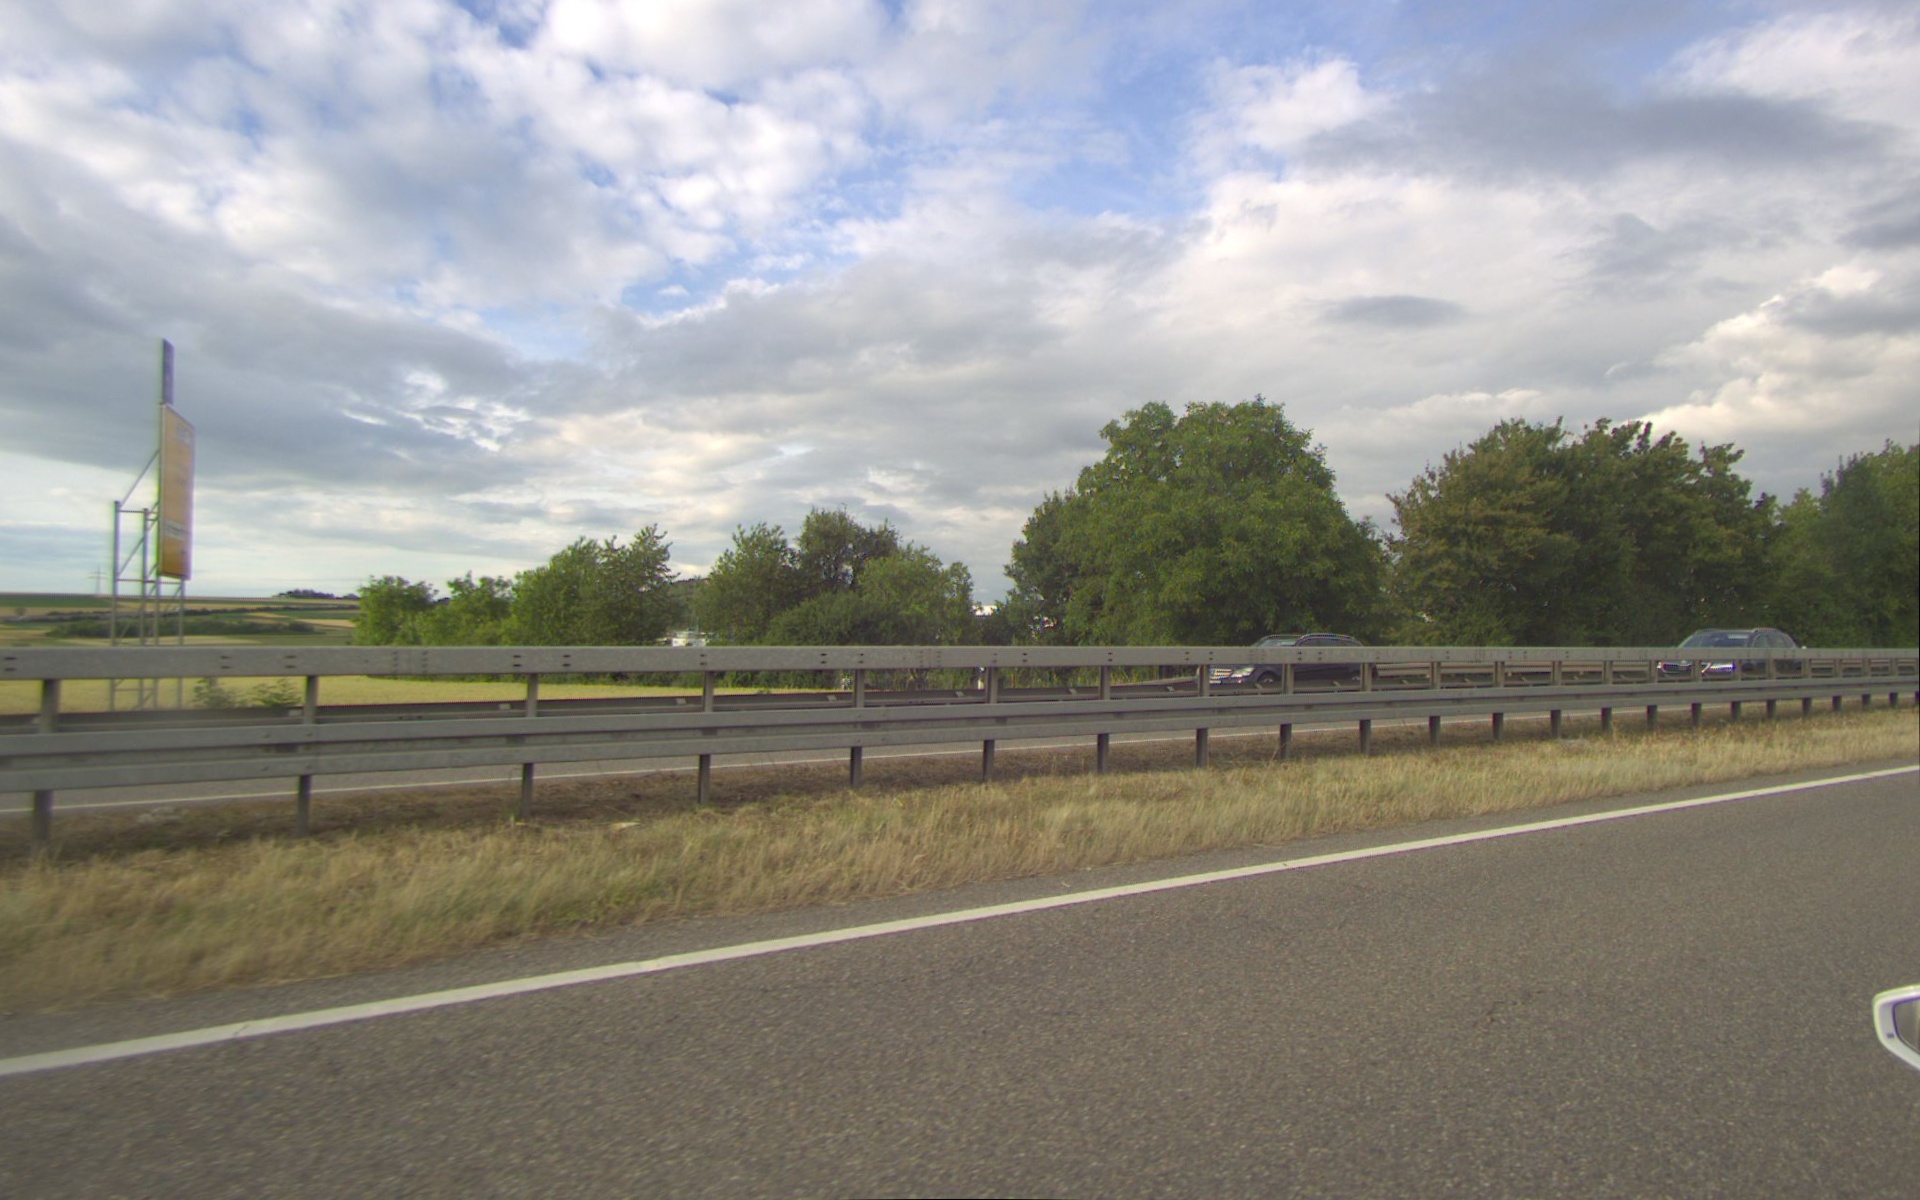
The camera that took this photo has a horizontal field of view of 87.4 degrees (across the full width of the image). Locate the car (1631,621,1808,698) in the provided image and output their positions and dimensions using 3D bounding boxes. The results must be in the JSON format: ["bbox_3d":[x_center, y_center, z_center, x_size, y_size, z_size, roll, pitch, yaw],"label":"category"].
[{"bbox_3d":[17.680,1.345,23.348,4.325,1.635,1.790,2,-2,-30],"label":"car"}]

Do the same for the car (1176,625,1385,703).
[{"bbox_3d":[7.020,1.357,21.897,4.409,1.498,1.898,2,-1,-30],"label":"car"}]
